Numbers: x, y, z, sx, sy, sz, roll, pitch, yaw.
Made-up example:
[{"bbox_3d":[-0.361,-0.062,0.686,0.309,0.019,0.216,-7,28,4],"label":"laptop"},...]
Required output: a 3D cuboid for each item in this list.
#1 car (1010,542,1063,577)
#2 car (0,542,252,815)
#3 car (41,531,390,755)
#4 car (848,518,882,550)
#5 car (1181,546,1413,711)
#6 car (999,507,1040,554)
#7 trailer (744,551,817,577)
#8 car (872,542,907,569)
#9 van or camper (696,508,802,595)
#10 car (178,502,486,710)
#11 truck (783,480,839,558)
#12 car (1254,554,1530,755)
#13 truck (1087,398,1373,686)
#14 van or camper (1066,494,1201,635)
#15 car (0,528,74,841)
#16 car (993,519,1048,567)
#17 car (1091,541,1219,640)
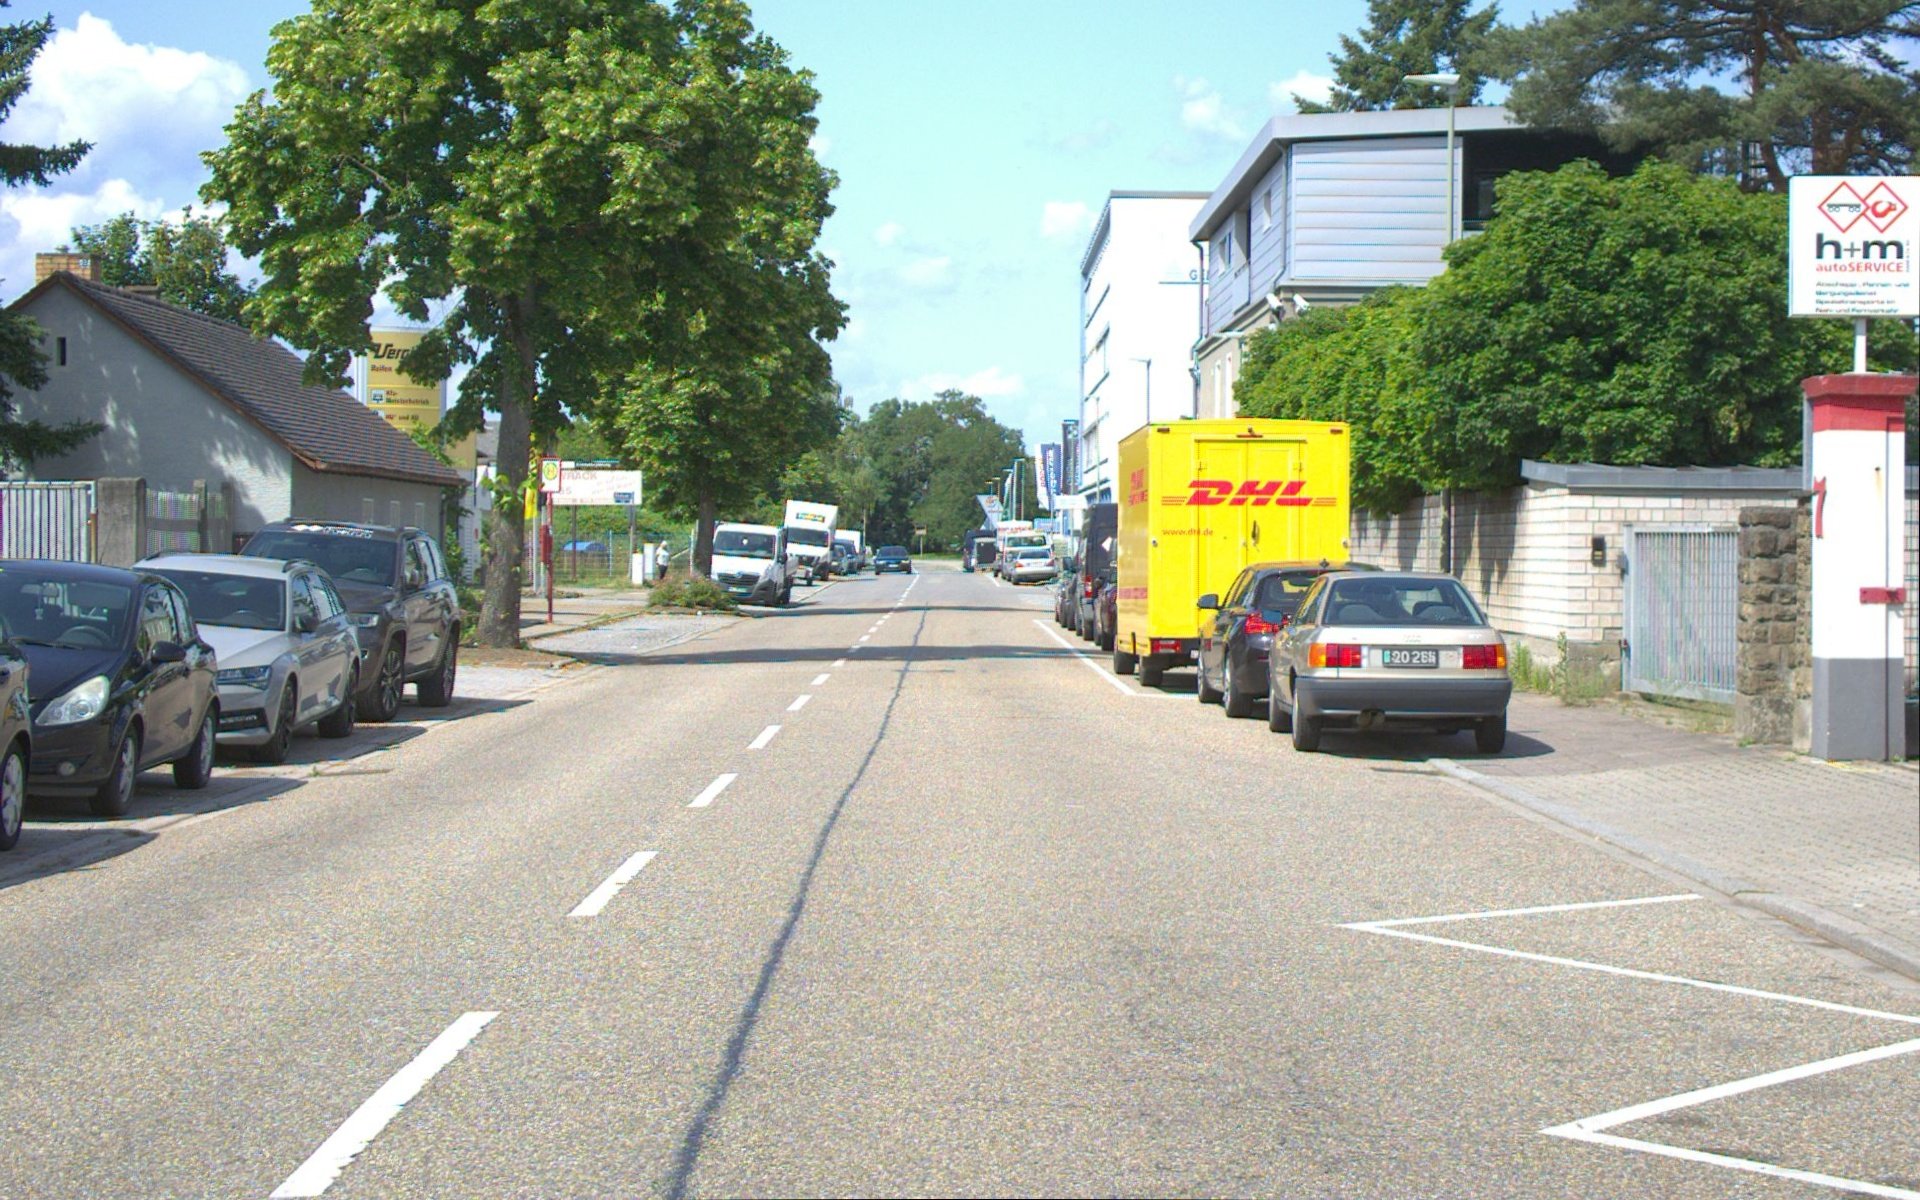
[{"bbox_3d":[2.918,-1.560,131.834,1.928,1.306,4.000,0,1,0],"label":"car"},{"bbox_3d":[-5.764,0.421,21.967,1.627,1.443,4.027,5,1,-1],"label":"car"},{"bbox_3d":[-5.828,0.268,27.468,1.733,1.513,4.743,3,2,-1],"label":"car"},{"bbox_3d":[-5.080,-3.548,184.449,1.713,1.645,4.000,0,1,0],"label":"car"},{"bbox_3d":[3.133,0.221,32.682,1.662,1.436,4.284,0,1,-2],"label":"car"},{"bbox_3d":[2.694,-3.153,155.990,1.707,2.082,4.000,0,1,-1],"label":"car"},{"bbox_3d":[-6.754,-1.386,129.749,2.417,0.811,5.537,3,1,0],"label":"trailer"},{"bbox_3d":[-3.607,-2.285,176.708,1.654,1.320,4.417,0,1,0],"label":"car"},{"bbox_3d":[-6.040,-1.427,99.453,2.174,2.405,7.697,1,1,3],"label":"van or camper"},{"bbox_3d":[-5.904,0.012,32.908,1.919,1.816,4.785,1,1,2],"label":"car"},{"bbox_3d":[-6.201,-3.369,143.358,2.029,3.143,6.500,0,1,0],"label":"truck"},{"bbox_3d":[3.412,0.379,27.873,1.652,1.382,4.423,2,2,0],"label":"car"},{"bbox_3d":[2.951,-0.672,39.443,2.474,2.930,7.189,2,1,-1],"label":"truck"},{"bbox_3d":[2.963,-0.639,59.809,1.993,2.283,5.448,2,1,0],"label":"van or camper"},{"bbox_3d":[-5.769,0.418,16.894,1.724,1.598,4.415,4,1,-2],"label":"car"},{"bbox_3d":[2.551,-2.428,145.394,2.216,2.007,5.485,0,1,0],"label":"car"},{"bbox_3d":[3.011,-0.177,53.853,1.681,1.437,4.767,1,1,0],"label":"car"}]
